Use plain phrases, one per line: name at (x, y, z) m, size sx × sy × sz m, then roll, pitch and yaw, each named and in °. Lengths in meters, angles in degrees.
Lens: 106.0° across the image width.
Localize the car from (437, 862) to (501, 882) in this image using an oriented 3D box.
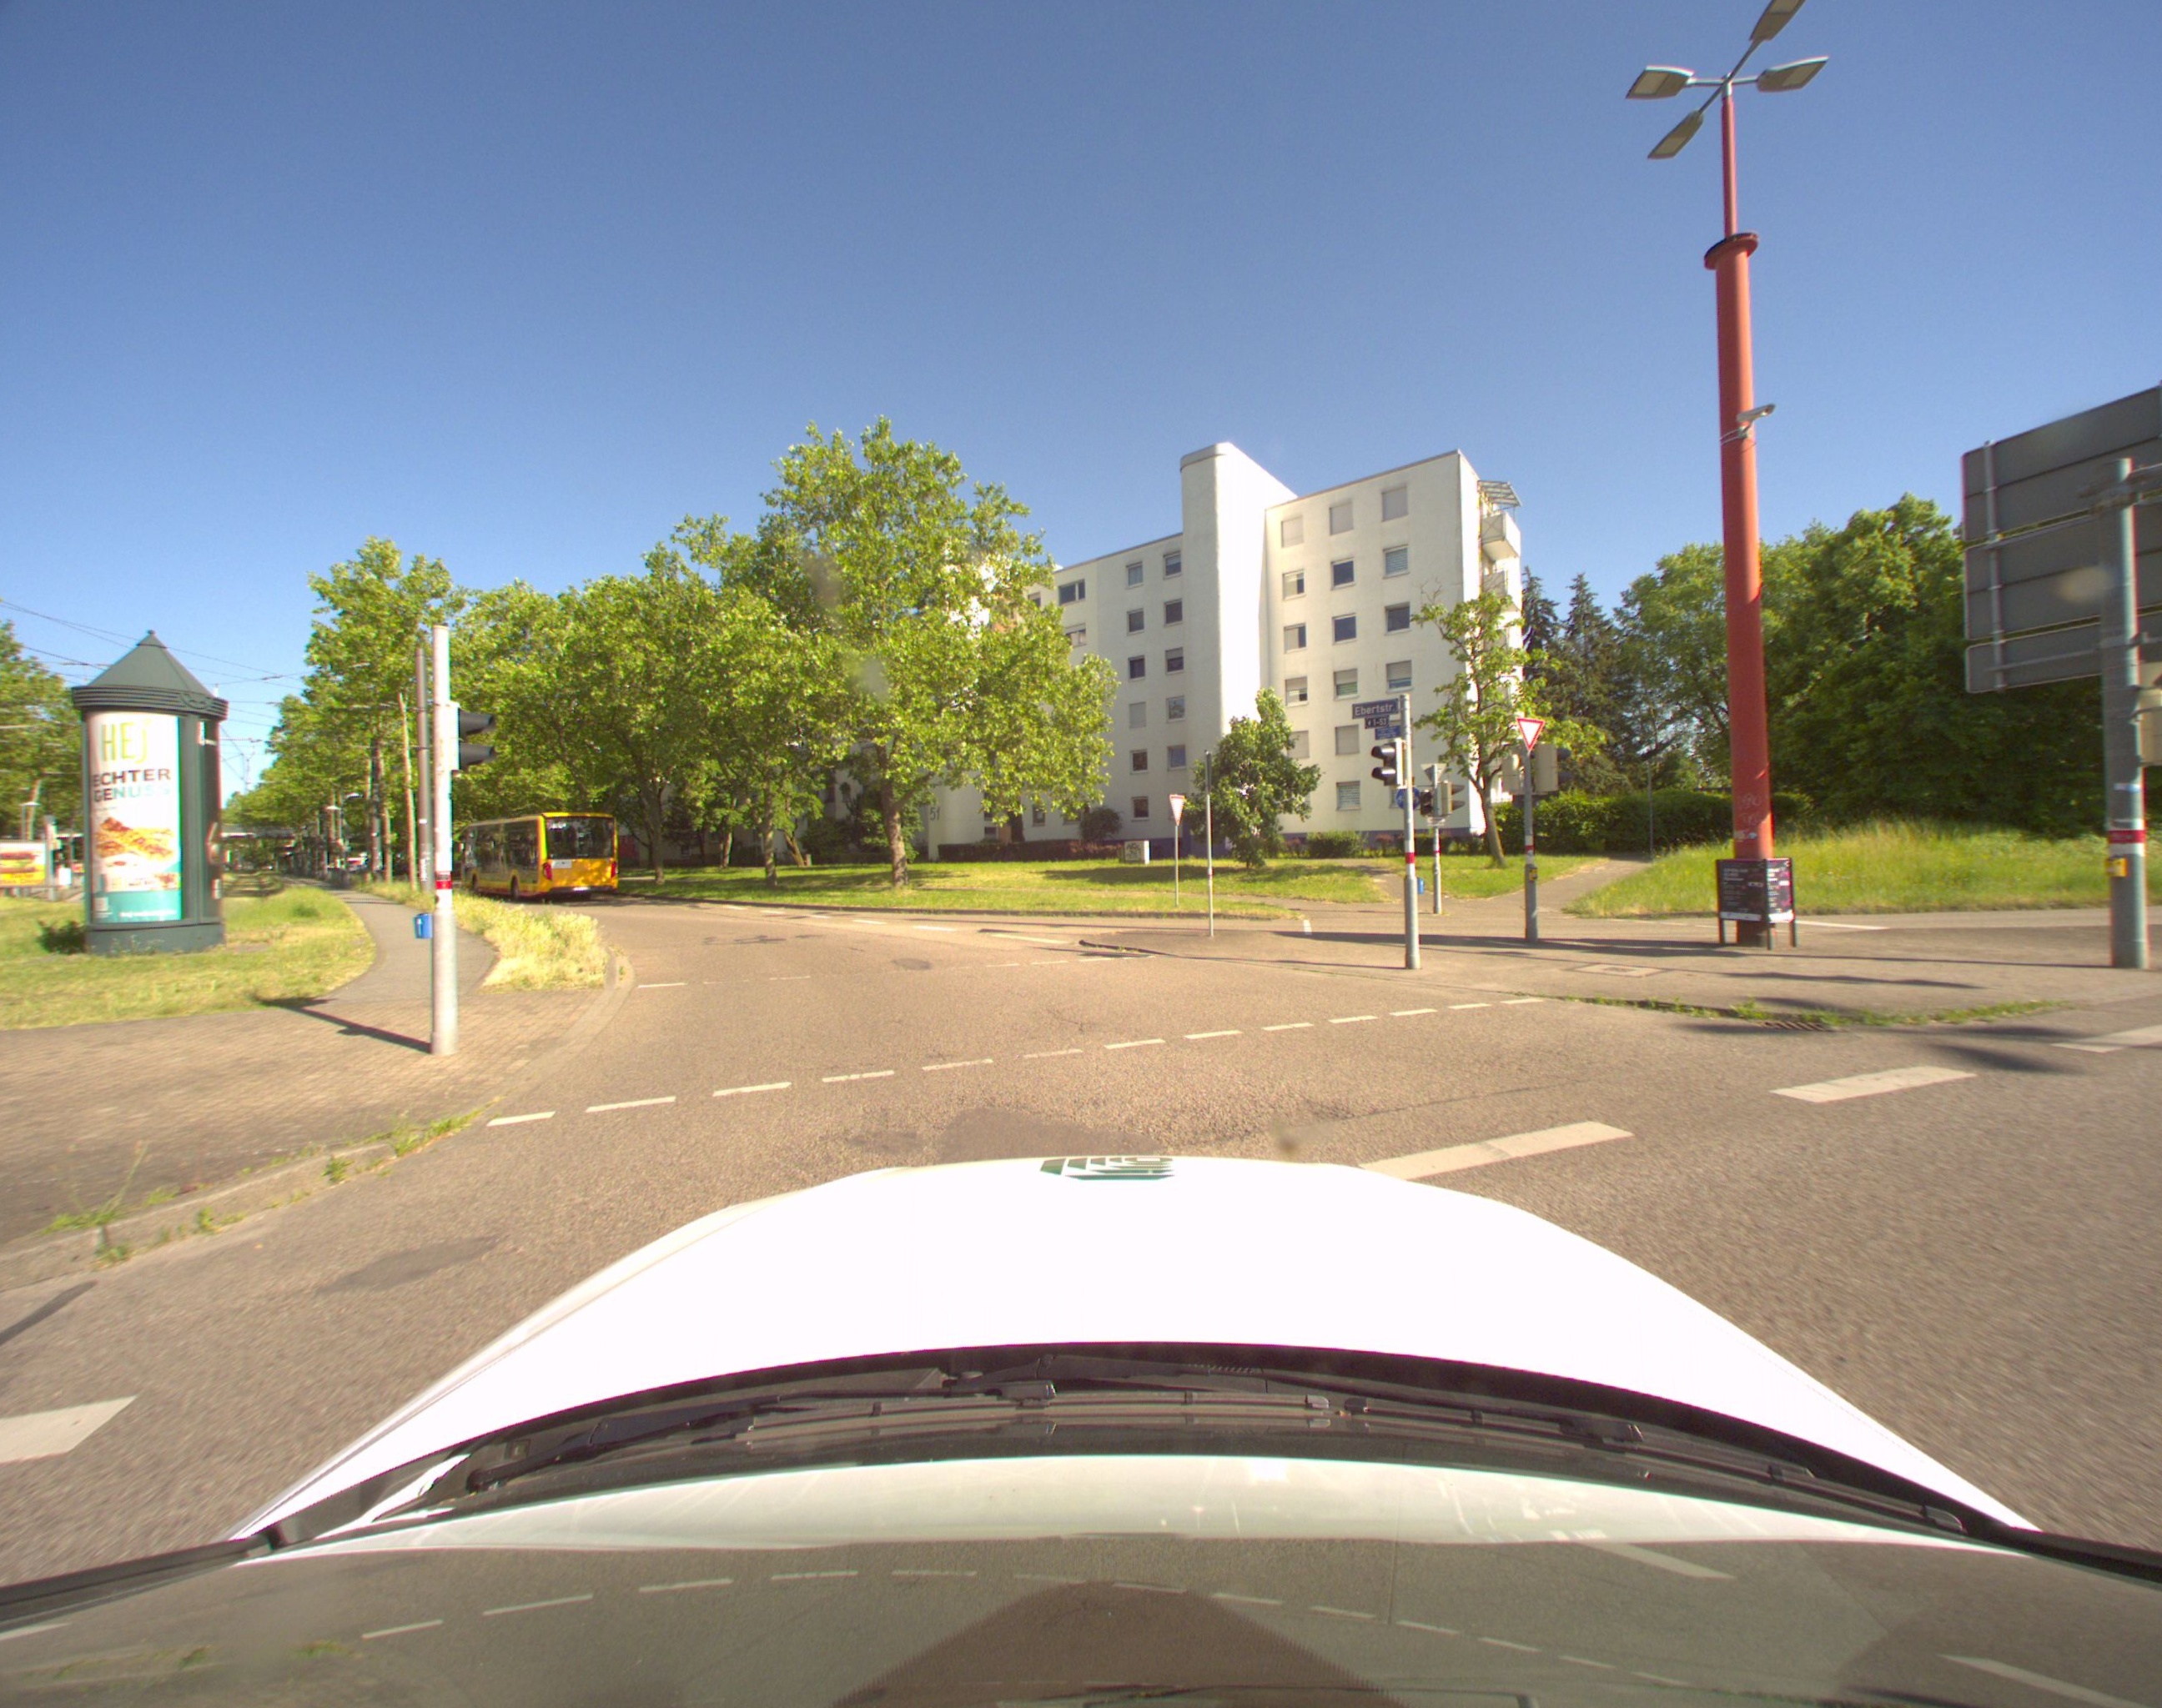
car at (-48.527, 1.417, 64.629) m, size 3.635 × 1.460 × 1.610 m, roll -1°, pitch 1°, yaw -9°

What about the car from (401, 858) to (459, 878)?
car at (-68.378, 1.448, 85.638) m, size 4.326 × 1.983 × 1.935 m, roll -1°, pitch 0°, yaw -9°

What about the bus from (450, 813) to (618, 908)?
bus at (-22.652, 0.151, 33.240) m, size 12.377 × 3.261 × 2.671 m, roll 1°, pitch 1°, yaw 42°

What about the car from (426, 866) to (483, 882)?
car at (-51.539, 1.644, 67.042) m, size 3.410 × 1.188 × 1.441 m, roll -1°, pitch 1°, yaw -13°
